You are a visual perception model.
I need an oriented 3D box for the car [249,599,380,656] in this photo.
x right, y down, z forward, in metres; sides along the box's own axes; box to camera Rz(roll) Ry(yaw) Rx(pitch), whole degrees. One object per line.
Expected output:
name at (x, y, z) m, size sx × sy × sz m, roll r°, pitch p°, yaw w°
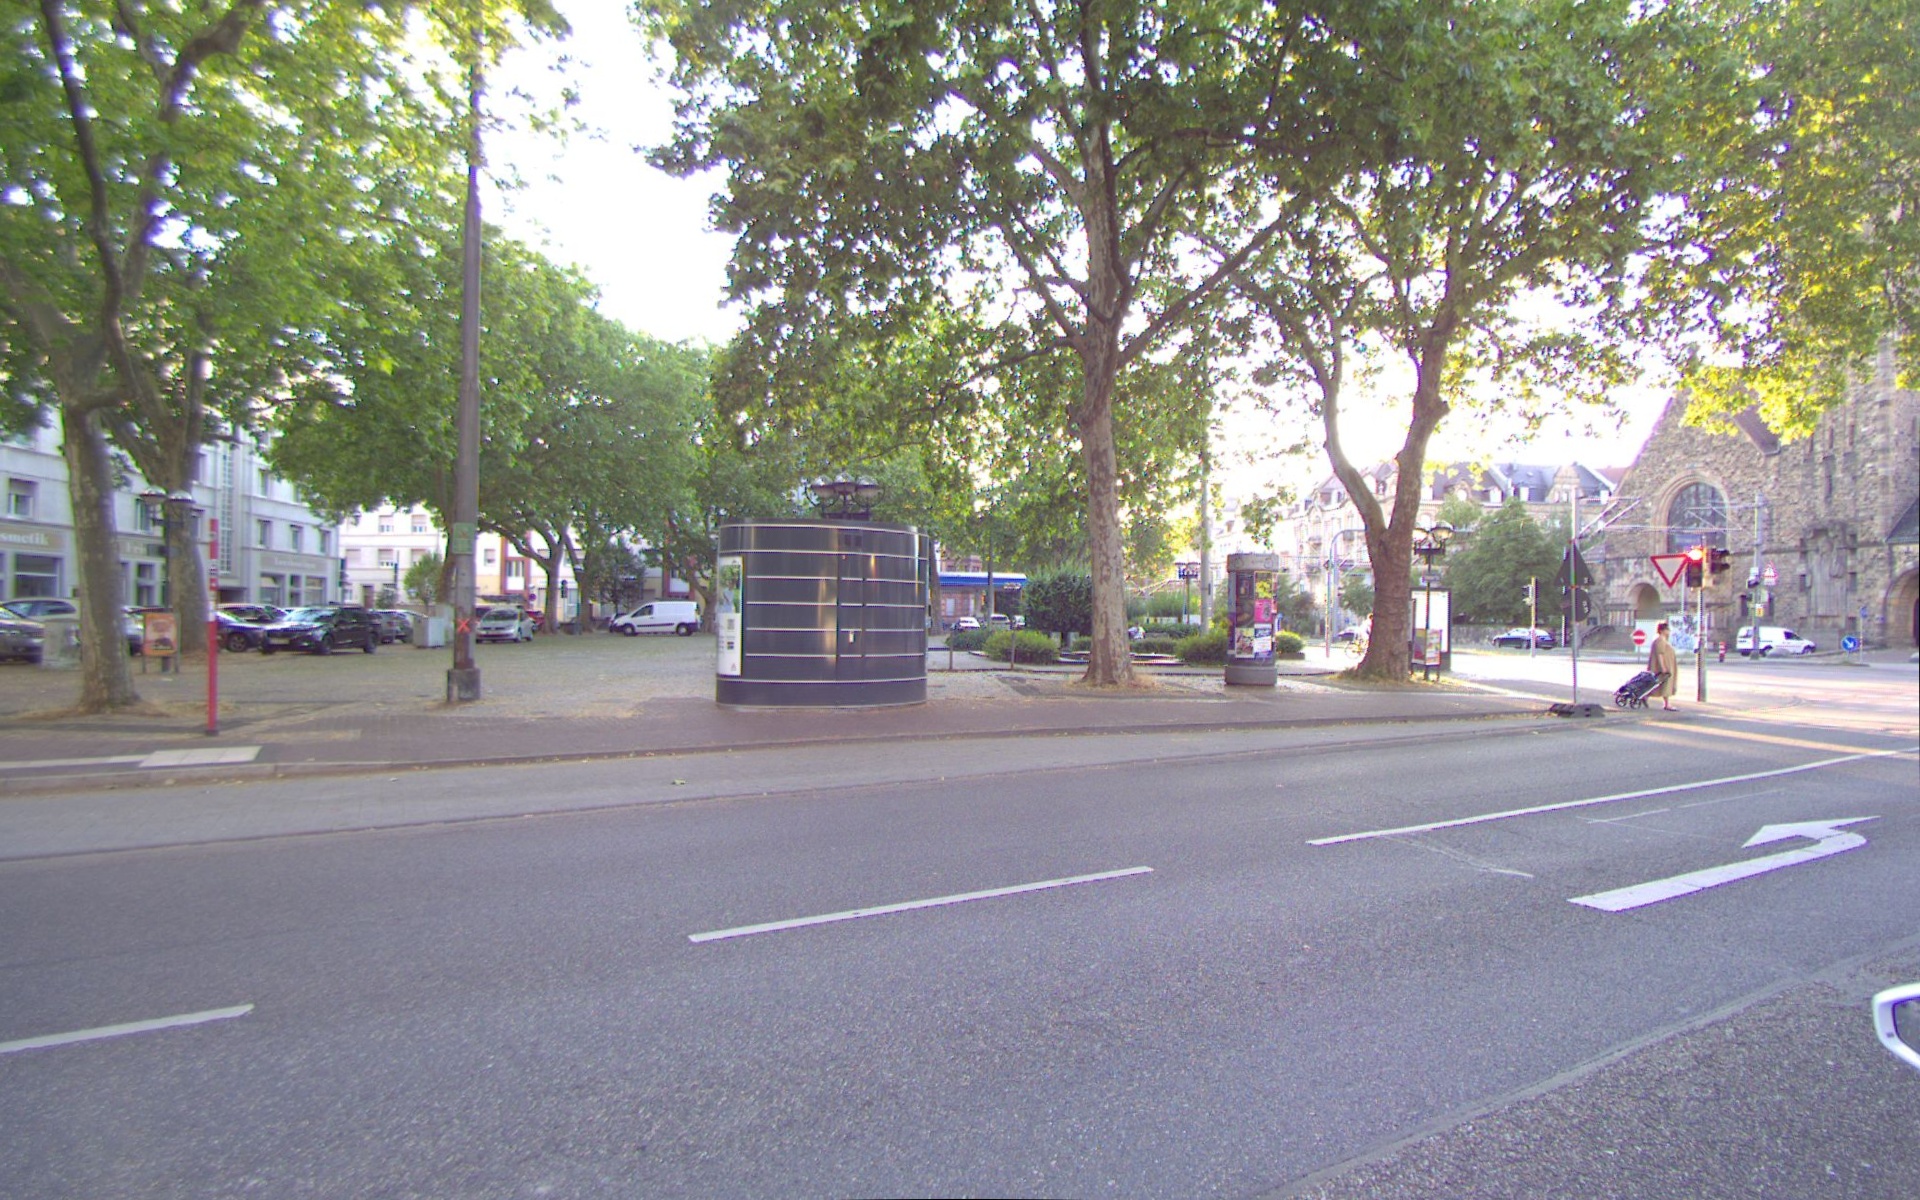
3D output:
car at (-19.219, 0.814, 30.102) m, size 1.642 × 1.549 × 3.760 m, roll 2°, pitch -2°, yaw -4°

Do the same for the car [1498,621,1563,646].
car at (39.360, 2.349, 69.388) m, size 1.962 × 1.639 × 3.998 m, roll 1°, pitch -3°, yaw -5°

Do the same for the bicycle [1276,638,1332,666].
bicycle at (15.230, 2.311, 44.502) m, size 2.199 × 1.093 × 0.659 m, roll 1°, pitch 8°, yaw 9°

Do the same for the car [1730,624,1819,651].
car at (50.968, 2.342, 62.916) m, size 4.372 × 1.537 × 1.718 m, roll 2°, pitch 0°, yaw -6°

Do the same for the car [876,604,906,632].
car at (-5.013, 1.274, 72.315) m, size 1.882 × 1.873 × 3.995 m, roll 2°, pitch 0°, yaw -7°

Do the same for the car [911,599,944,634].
car at (-2.377, 1.151, 72.561) m, size 1.963 × 2.374 × 3.995 m, roll 2°, pitch 0°, yaw -7°

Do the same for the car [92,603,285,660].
car at (-25.111, 1.030, 32.871) m, size 4.557 × 1.758 × 1.997 m, roll -1°, pitch -2°, yaw -10°

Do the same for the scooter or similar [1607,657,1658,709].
scooter or similar at (12.618, 1.550, 18.845) m, size 0.845 × 0.910 × 0.586 m, roll 2°, pitch 0°, yaw -41°

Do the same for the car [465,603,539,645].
car at (-19.789, 1.002, 43.583) m, size 1.642 × 1.684 × 3.760 m, roll 2°, pitch 0°, yaw -4°

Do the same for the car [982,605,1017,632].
car at (2.849, 1.336, 73.318) m, size 1.882 × 1.873 × 3.995 m, roll 2°, pitch 0°, yaw -7°

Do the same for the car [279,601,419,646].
car at (-25.589, 0.985, 42.225) m, size 4.557 × 1.758 × 1.997 m, roll -1°, pitch -2°, yaw -10°

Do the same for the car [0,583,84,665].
car at (-23.120, 0.585, 22.723) m, size 4.557 × 1.805 × 1.997 m, roll -1°, pitch -2°, yaw -10°

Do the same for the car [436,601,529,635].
car at (-27.220, 1.027, 57.408) m, size 4.578 × 1.834 × 1.992 m, roll 0°, pitch -2°, yaw -20°

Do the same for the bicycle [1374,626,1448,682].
bicycle at (11.327, 1.367, 25.236) m, size 1.967 × 1.344 × 0.523 m, roll 2°, pitch 0°, yaw -26°

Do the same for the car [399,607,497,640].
car at (-27.718, 1.277, 54.564) m, size 4.572 × 1.758 × 1.990 m, roll 0°, pitch -2°, yaw -22°

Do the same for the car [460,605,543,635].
car at (-28.313, 1.232, 62.236) m, size 4.572 × 1.758 × 1.990 m, roll 0°, pitch -2°, yaw -22°

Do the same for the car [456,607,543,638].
car at (-27.383, 1.351, 59.930) m, size 4.572 × 1.758 × 1.990 m, roll 0°, pitch -2°, yaw -22°

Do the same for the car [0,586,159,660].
car at (-23.679, 0.597, 25.693) m, size 4.557 × 1.805 × 1.997 m, roll -1°, pitch -2°, yaw -10°

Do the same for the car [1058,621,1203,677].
car at (5.826, 1.685, 34.667) m, size 4.552 × 1.805 × 1.999 m, roll -1°, pitch -2°, yaw -5°

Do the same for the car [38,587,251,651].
car at (-24.450, 0.577, 30.291) m, size 4.557 × 1.805 × 1.997 m, roll -1°, pitch -2°, yaw -10°

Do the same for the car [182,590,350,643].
car at (-25.103, 0.617, 36.515) m, size 4.557 × 1.805 × 2.090 m, roll -1°, pitch -2°, yaw -10°

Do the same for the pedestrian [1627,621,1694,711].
pedestrian at (13.395, 1.240, 19.210) m, size 0.766 × 1.649 × 0.796 m, roll 2°, pitch 0°, yaw -35°

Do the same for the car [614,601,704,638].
car at (-16.855, 1.092, 56.443) m, size 4.557 × 1.964 × 1.997 m, roll -1°, pitch -2°, yaw -10°

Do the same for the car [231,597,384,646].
car at (-25.294, 0.853, 39.102) m, size 4.557 × 1.805 × 1.997 m, roll -1°, pitch -2°, yaw -10°

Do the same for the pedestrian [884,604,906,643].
pedestrian at (-2.885, 1.037, 44.669) m, size 0.869 × 1.694 × 0.740 m, roll 2°, pitch 0°, yaw -8°

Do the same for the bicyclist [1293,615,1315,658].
bicyclist at (15.211, 1.628, 44.397) m, size 0.842 × 1.850 × 0.659 m, roll 1°, pitch -4°, yaw 9°
